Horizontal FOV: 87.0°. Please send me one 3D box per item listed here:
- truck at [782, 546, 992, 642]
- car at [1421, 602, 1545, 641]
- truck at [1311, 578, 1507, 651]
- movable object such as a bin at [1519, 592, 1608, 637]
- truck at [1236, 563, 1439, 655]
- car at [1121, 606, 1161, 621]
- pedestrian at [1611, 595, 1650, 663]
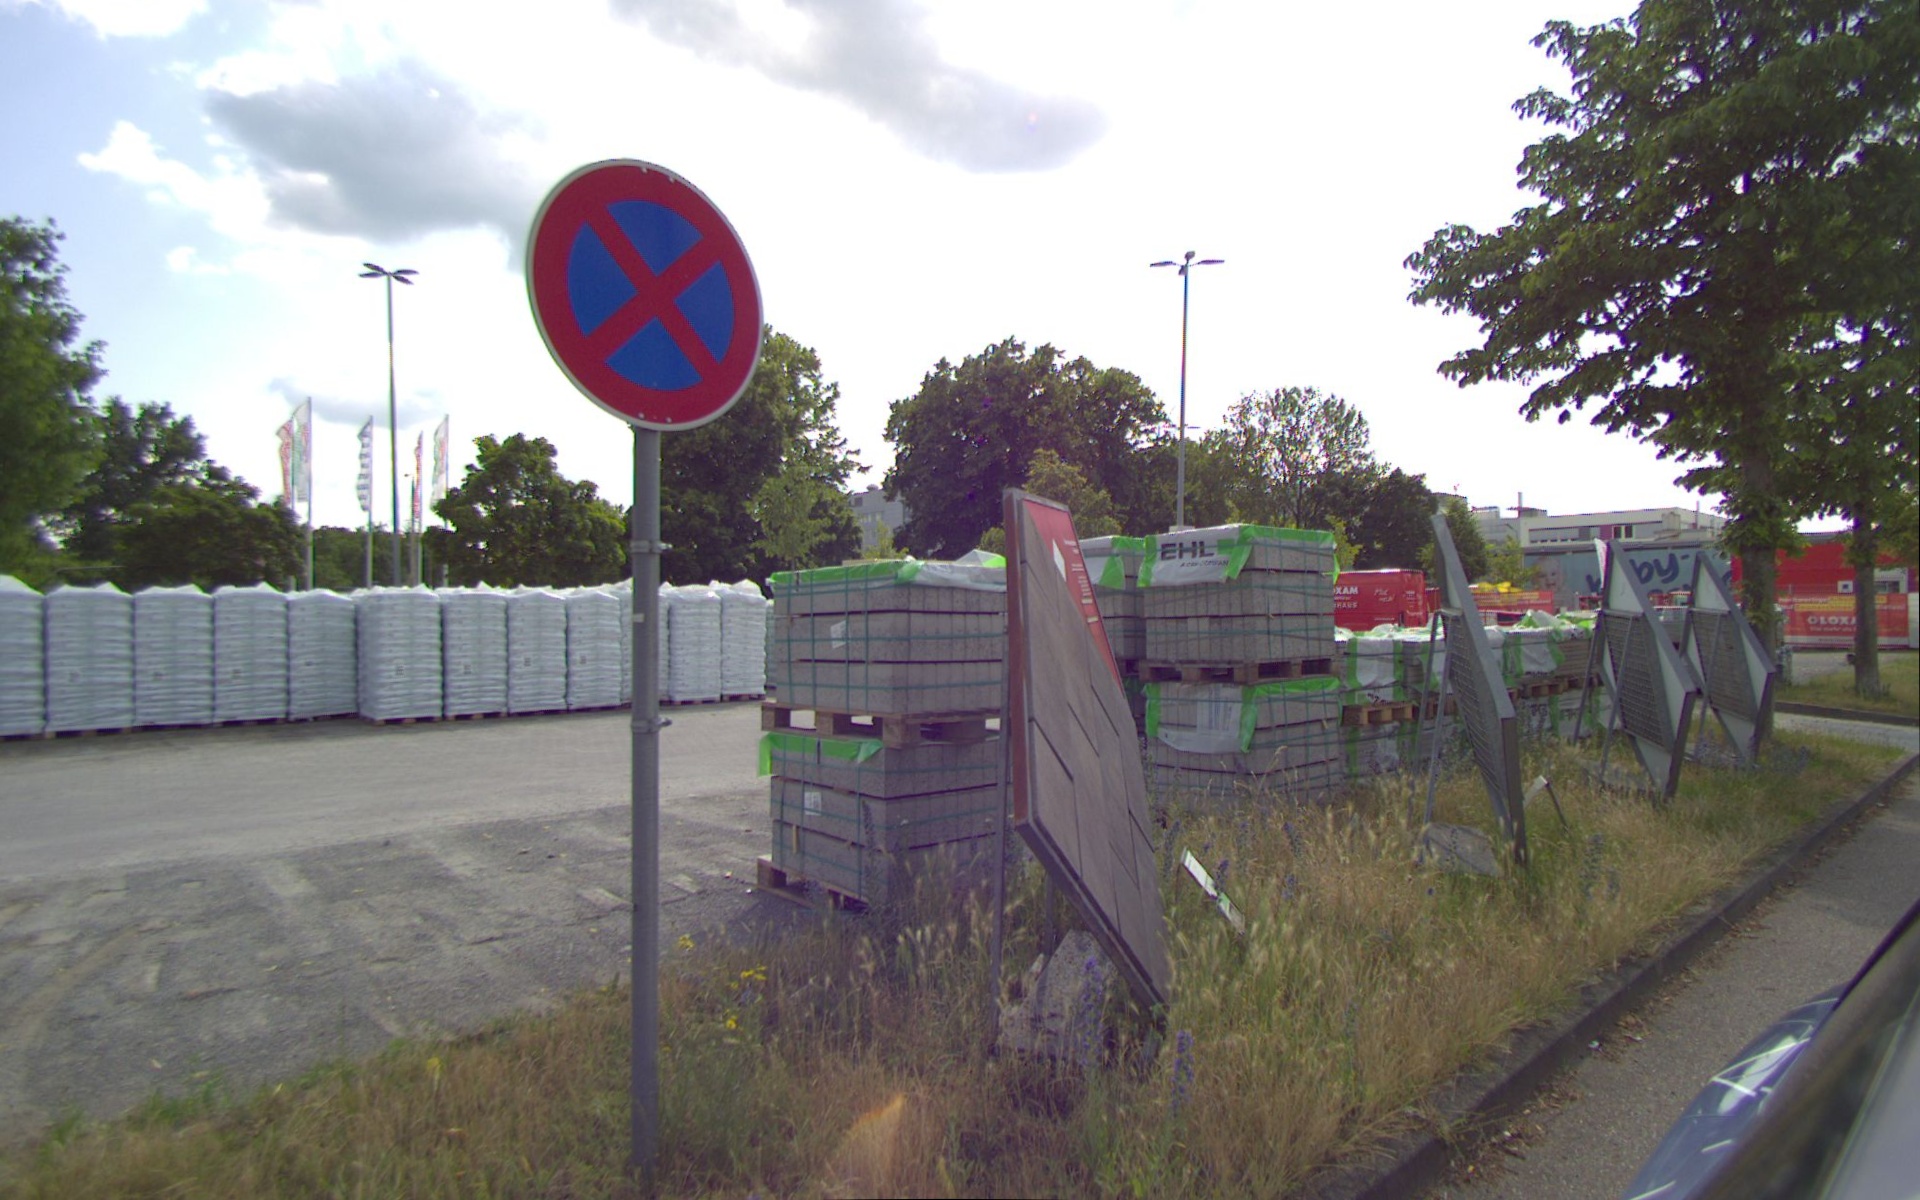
[{"bbox_3d":[-2.901,-0.201,42.566,8.873,3.644,2.727,1,-1,-39],"label":"truck"},{"bbox_3d":[20.726,0.822,40.194,4.133,1.432,1.592,0,0,45],"label":"car"},{"bbox_3d":[15.342,0.468,34.919,2.136,2.284,5.850,1,-1,-43],"label":"truck"},{"bbox_3d":[25.771,0.601,43.265,1.364,1.867,3.008,1,-1,-40],"label":"movable object such as a bin"},{"bbox_3d":[11.280,0.257,30.622,2.081,2.547,5.433,1,-1,-43],"label":"truck"},{"bbox_3d":[20.122,1.517,112.743,1.967,1.603,3.989,0,-1,-44],"label":"car"},{"bbox_3d":[17.321,0.729,26.143,0.863,1.713,0.600,-1,0,-39],"label":"pedestrian"}]
